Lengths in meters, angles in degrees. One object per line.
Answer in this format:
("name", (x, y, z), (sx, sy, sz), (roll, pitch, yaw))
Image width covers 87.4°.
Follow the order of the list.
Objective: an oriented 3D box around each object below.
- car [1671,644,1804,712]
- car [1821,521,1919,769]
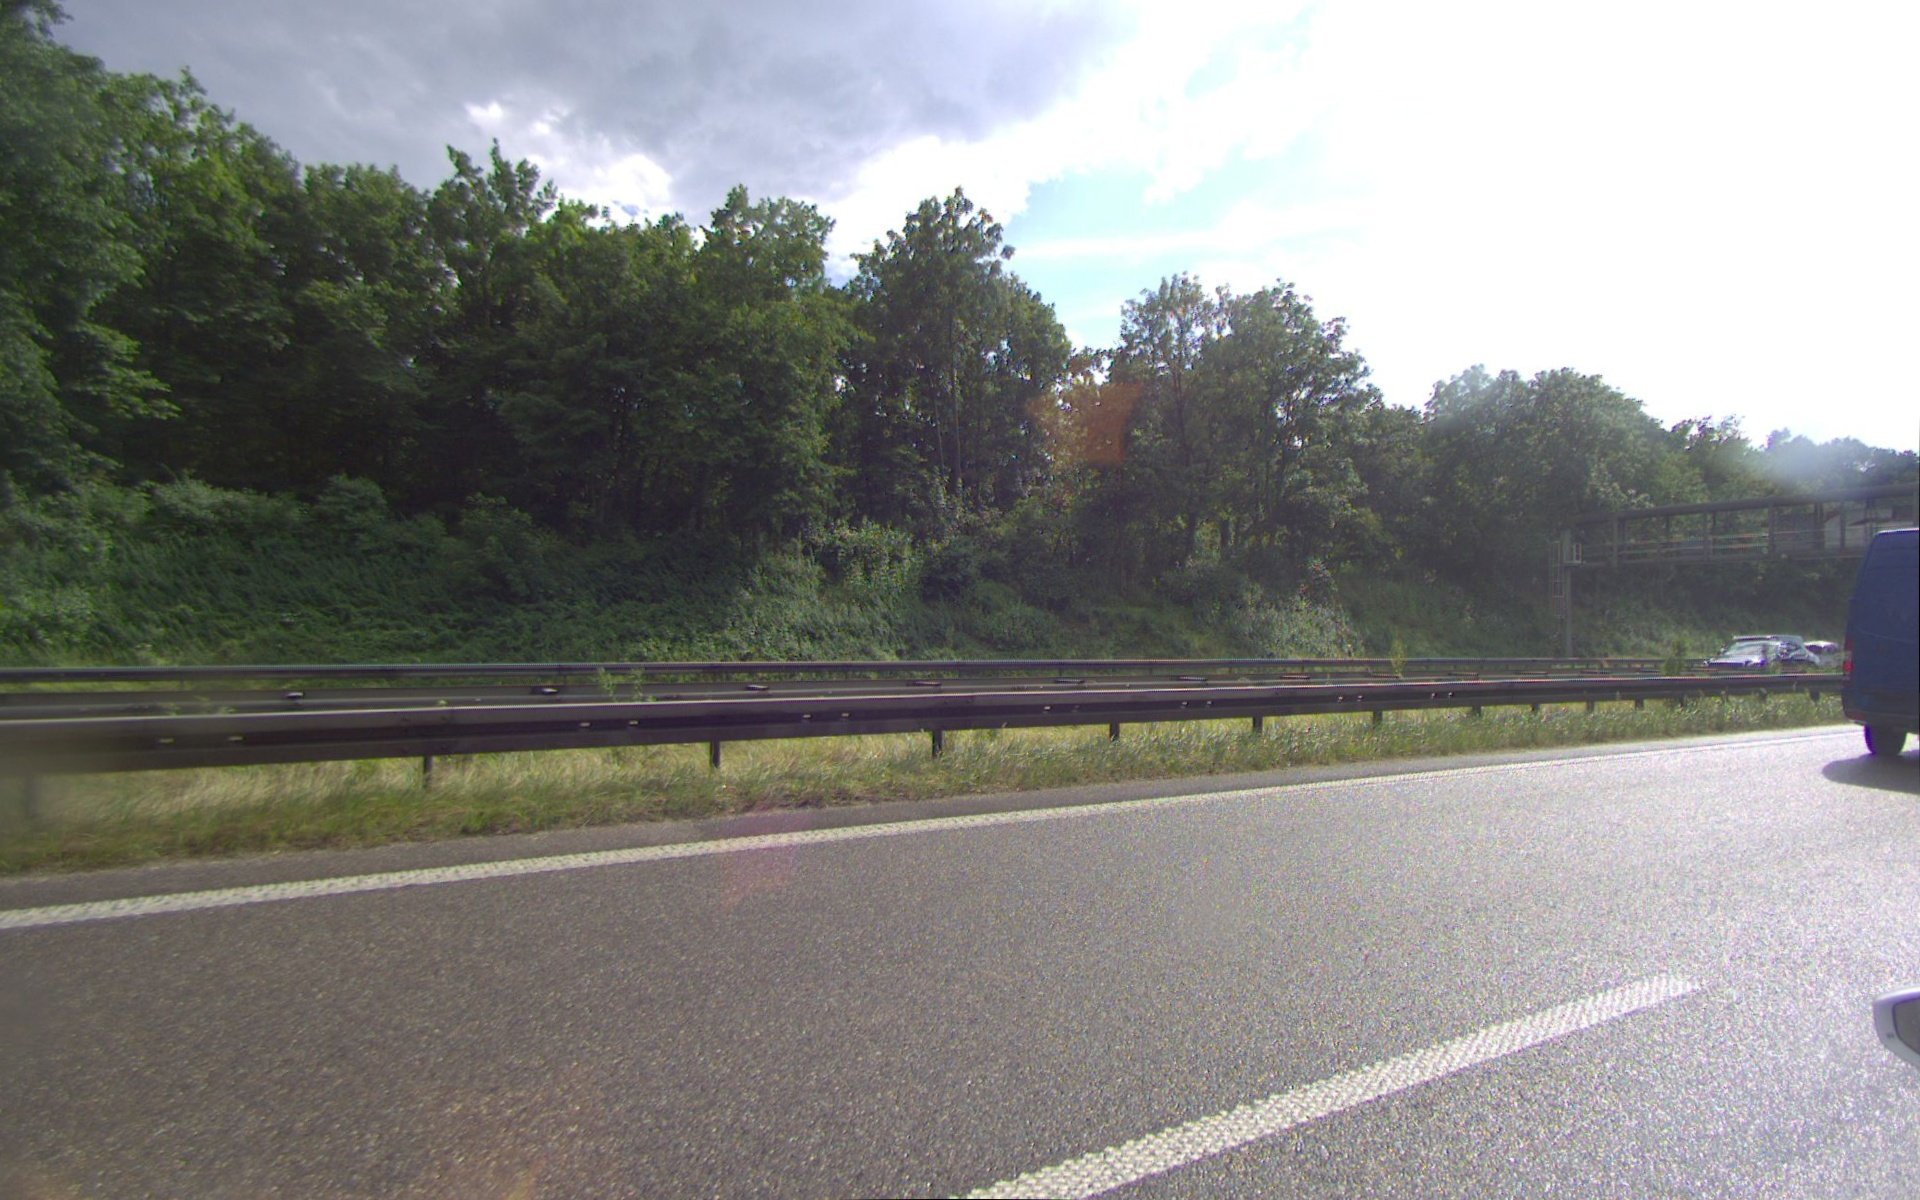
("car", (26.333, 2.596, 33.991), (4.678, 2.040, 1.984), (2, 0, -31))
("car", (12.907, 0.567, 12.194), (5.710, 2.684, 2.005), (2, 0, -31))
